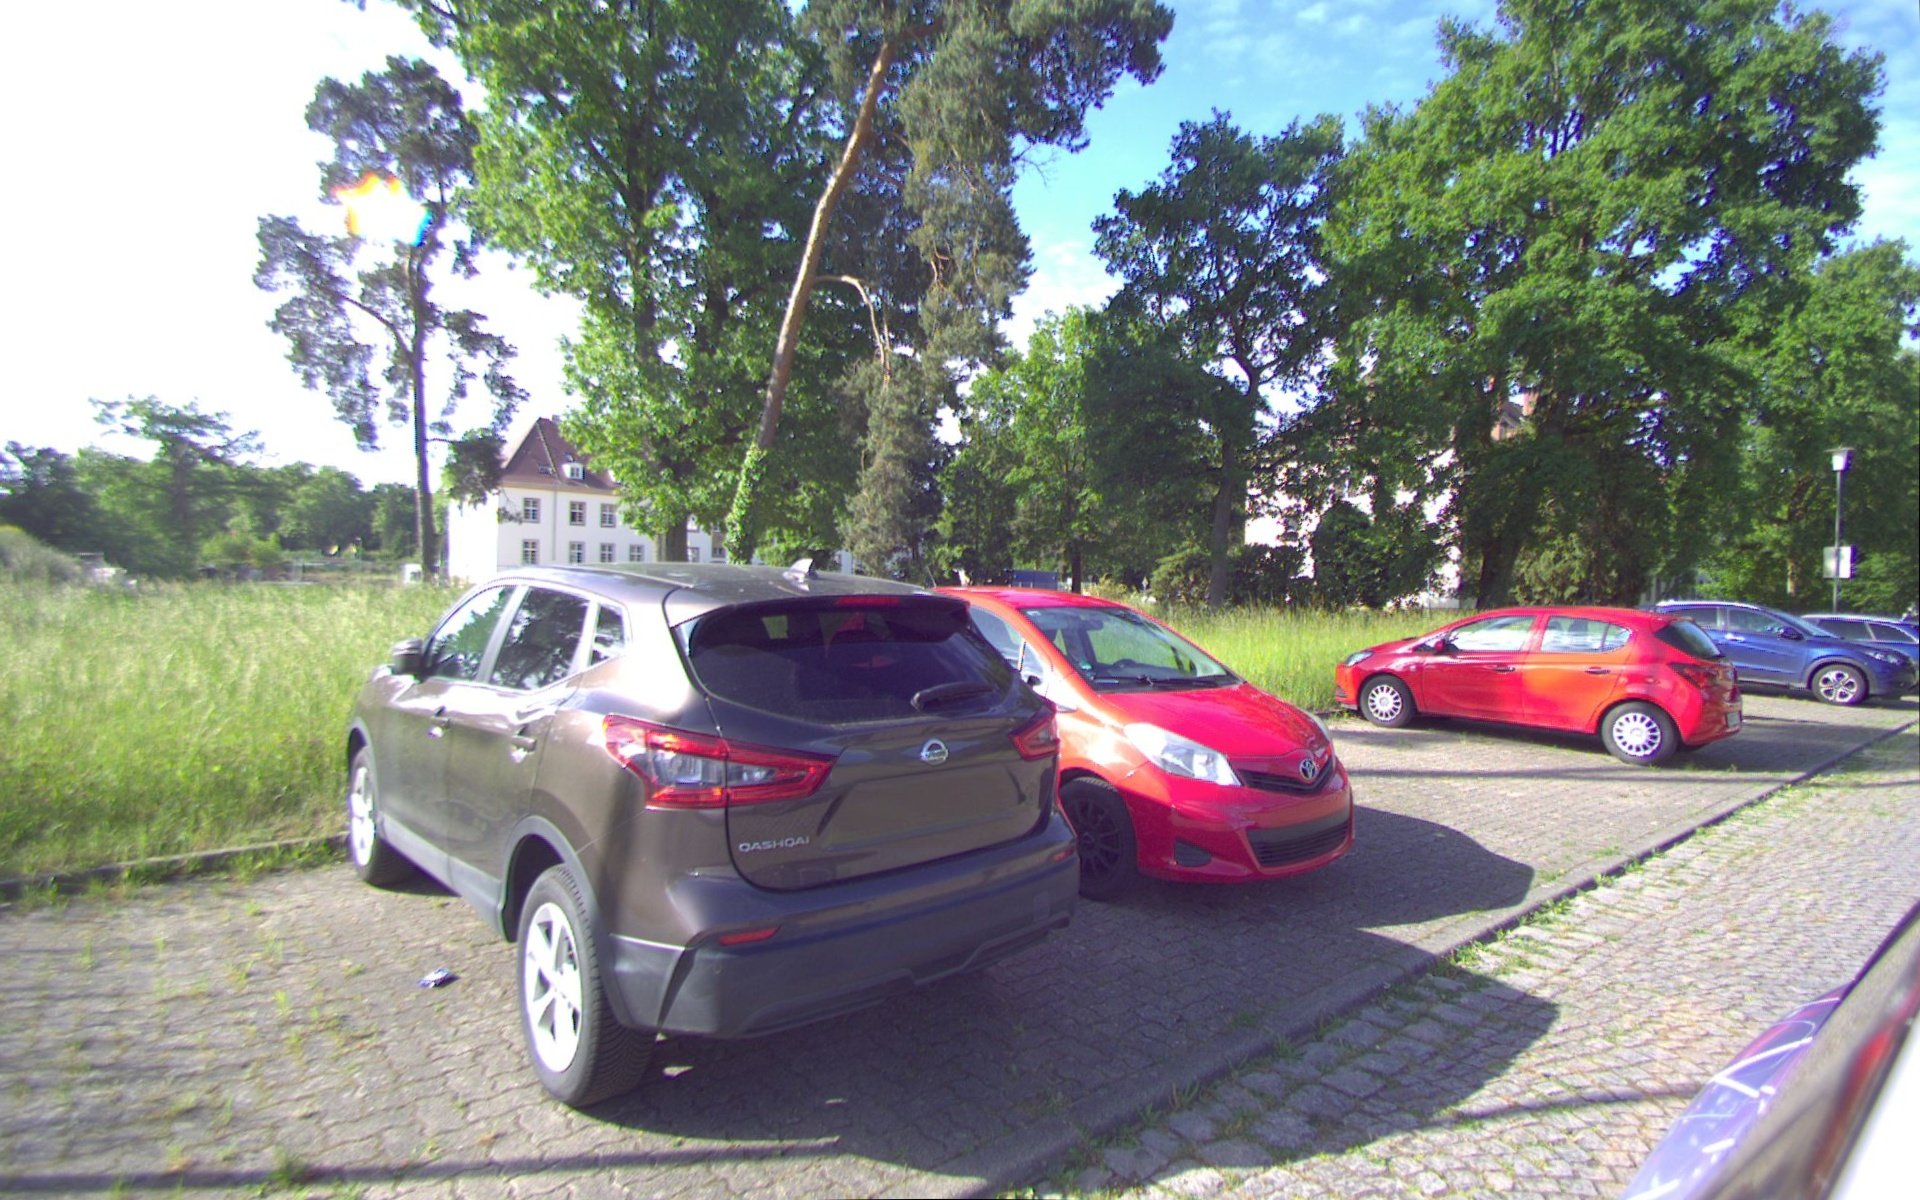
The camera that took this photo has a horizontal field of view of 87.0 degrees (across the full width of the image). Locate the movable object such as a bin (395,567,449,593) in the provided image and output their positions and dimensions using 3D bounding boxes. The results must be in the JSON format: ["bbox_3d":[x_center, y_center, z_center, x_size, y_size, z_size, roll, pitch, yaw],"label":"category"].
[{"bbox_3d":[-45.477,-1.670,85.427,5.713,2.039,2.092,2,1,41],"label":"movable object such as a bin"}]

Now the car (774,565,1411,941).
[{"bbox_3d":[0.529,0.611,6.351,1.673,1.558,3.834,1,2,-39],"label":"car"}]

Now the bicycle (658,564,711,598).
[{"bbox_3d":[-17.126,-1.207,62.991,3.077,2.038,0.952,-2,2,-42],"label":"bicycle"}]

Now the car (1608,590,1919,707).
[{"bbox_3d":[13.962,0.734,17.551,1.622,1.618,4.272,1,2,-40],"label":"car"}]

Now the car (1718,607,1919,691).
[{"bbox_3d":[17.766,0.937,20.294,1.715,1.485,3.809,1,1,-39],"label":"car"}]

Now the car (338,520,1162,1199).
[{"bbox_3d":[-1.323,0.571,4.478,1.755,1.631,4.114,1,1,-41],"label":"car"}]

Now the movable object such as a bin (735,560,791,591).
[{"bbox_3d":[-19.622,-2.384,100.874,4.974,2.937,2.182,1,1,-33],"label":"movable object such as a bin"}]

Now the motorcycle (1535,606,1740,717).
[{"bbox_3d":[9.482,0.809,14.260,0.863,1.370,2.236,1,1,-38],"label":"motorcycle"}]

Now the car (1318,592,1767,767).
[{"bbox_3d":[6.171,0.710,11.115,1.513,1.514,3.995,1,1,-40],"label":"car"}]
